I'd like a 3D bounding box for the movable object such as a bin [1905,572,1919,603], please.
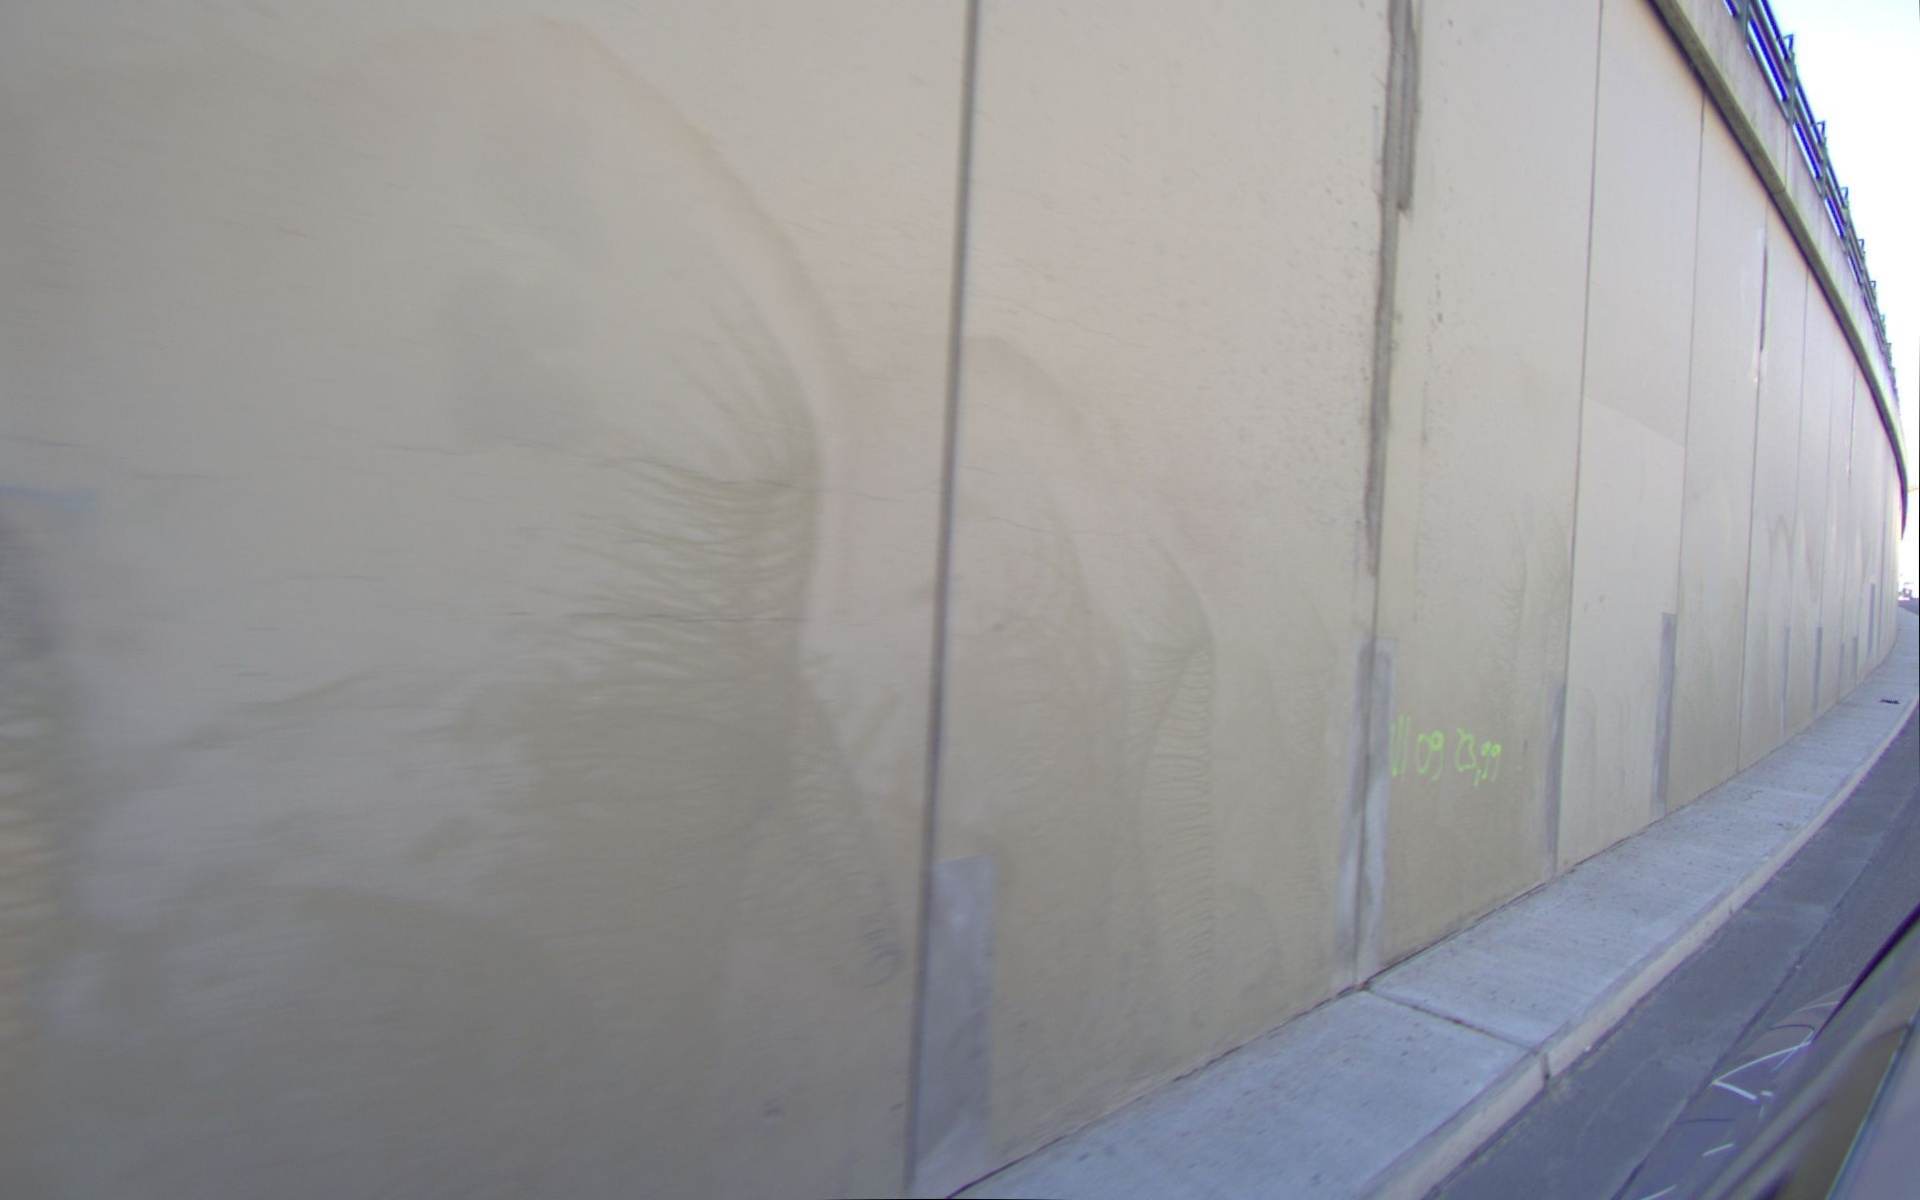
[{"bbox_3d":[80.967,-1.016,84.484,1.780,2.483,4.491,3,0,28],"label":"movable object such as a bin"}]
